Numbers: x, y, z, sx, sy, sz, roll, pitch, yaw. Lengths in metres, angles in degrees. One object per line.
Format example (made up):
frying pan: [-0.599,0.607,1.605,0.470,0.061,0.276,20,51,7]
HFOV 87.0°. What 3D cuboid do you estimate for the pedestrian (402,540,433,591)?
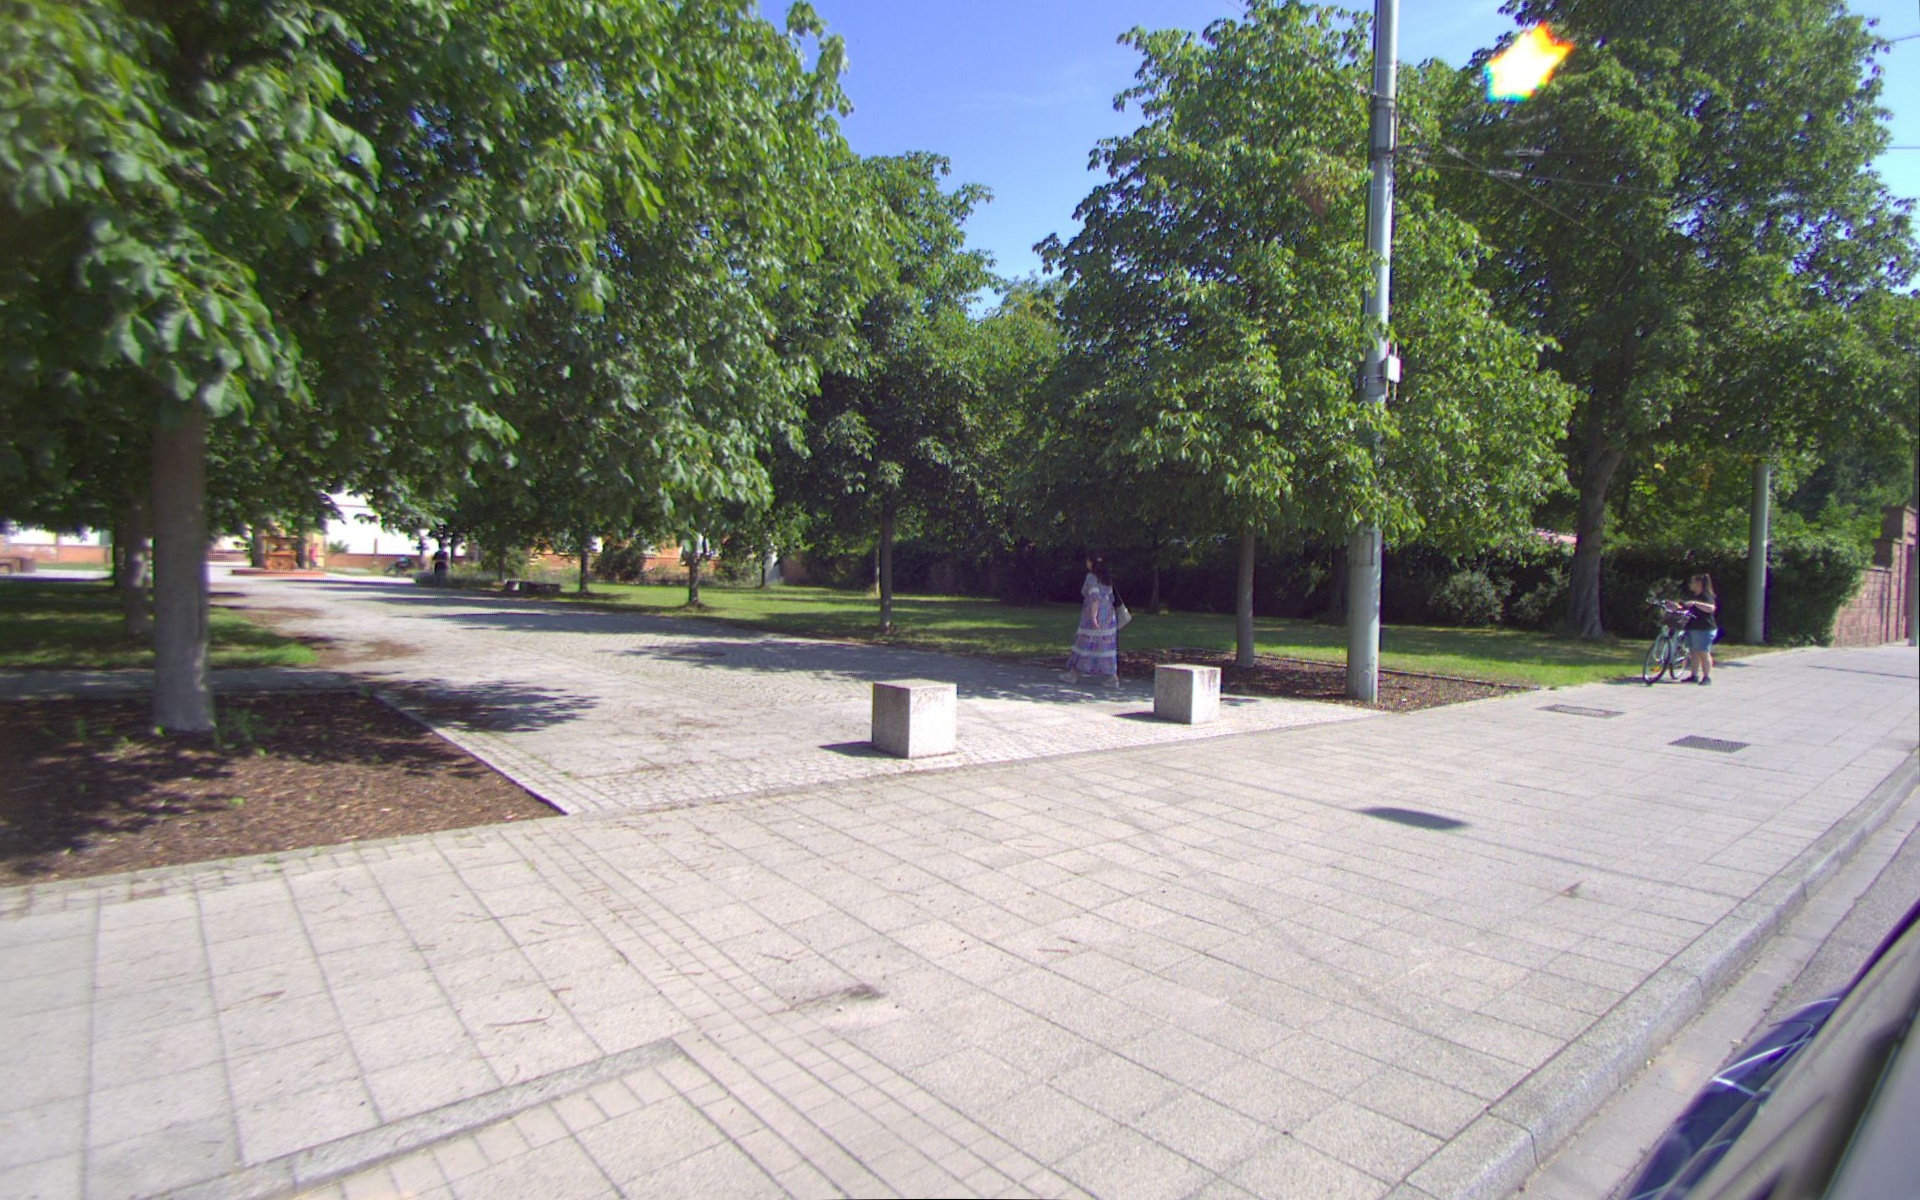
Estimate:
pedestrian: [-17.606,-1.114,32.830,0.677,1.620,0.867,1,2,-41]

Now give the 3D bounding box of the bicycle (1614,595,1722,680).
bicycle: [10.114,0.516,14.441,1.770,1.125,0.538,0,3,-31]

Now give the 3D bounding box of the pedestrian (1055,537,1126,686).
pedestrian: [1.572,0.120,12.140,0.698,1.703,0.648,2,1,18]

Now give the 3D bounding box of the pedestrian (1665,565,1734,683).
pedestrian: [10.286,0.321,14.080,0.651,1.567,0.542,1,4,-41]

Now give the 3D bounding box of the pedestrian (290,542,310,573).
pedestrian: [-34.901,-2.255,53.495,0.619,1.620,0.734,3,2,42]
